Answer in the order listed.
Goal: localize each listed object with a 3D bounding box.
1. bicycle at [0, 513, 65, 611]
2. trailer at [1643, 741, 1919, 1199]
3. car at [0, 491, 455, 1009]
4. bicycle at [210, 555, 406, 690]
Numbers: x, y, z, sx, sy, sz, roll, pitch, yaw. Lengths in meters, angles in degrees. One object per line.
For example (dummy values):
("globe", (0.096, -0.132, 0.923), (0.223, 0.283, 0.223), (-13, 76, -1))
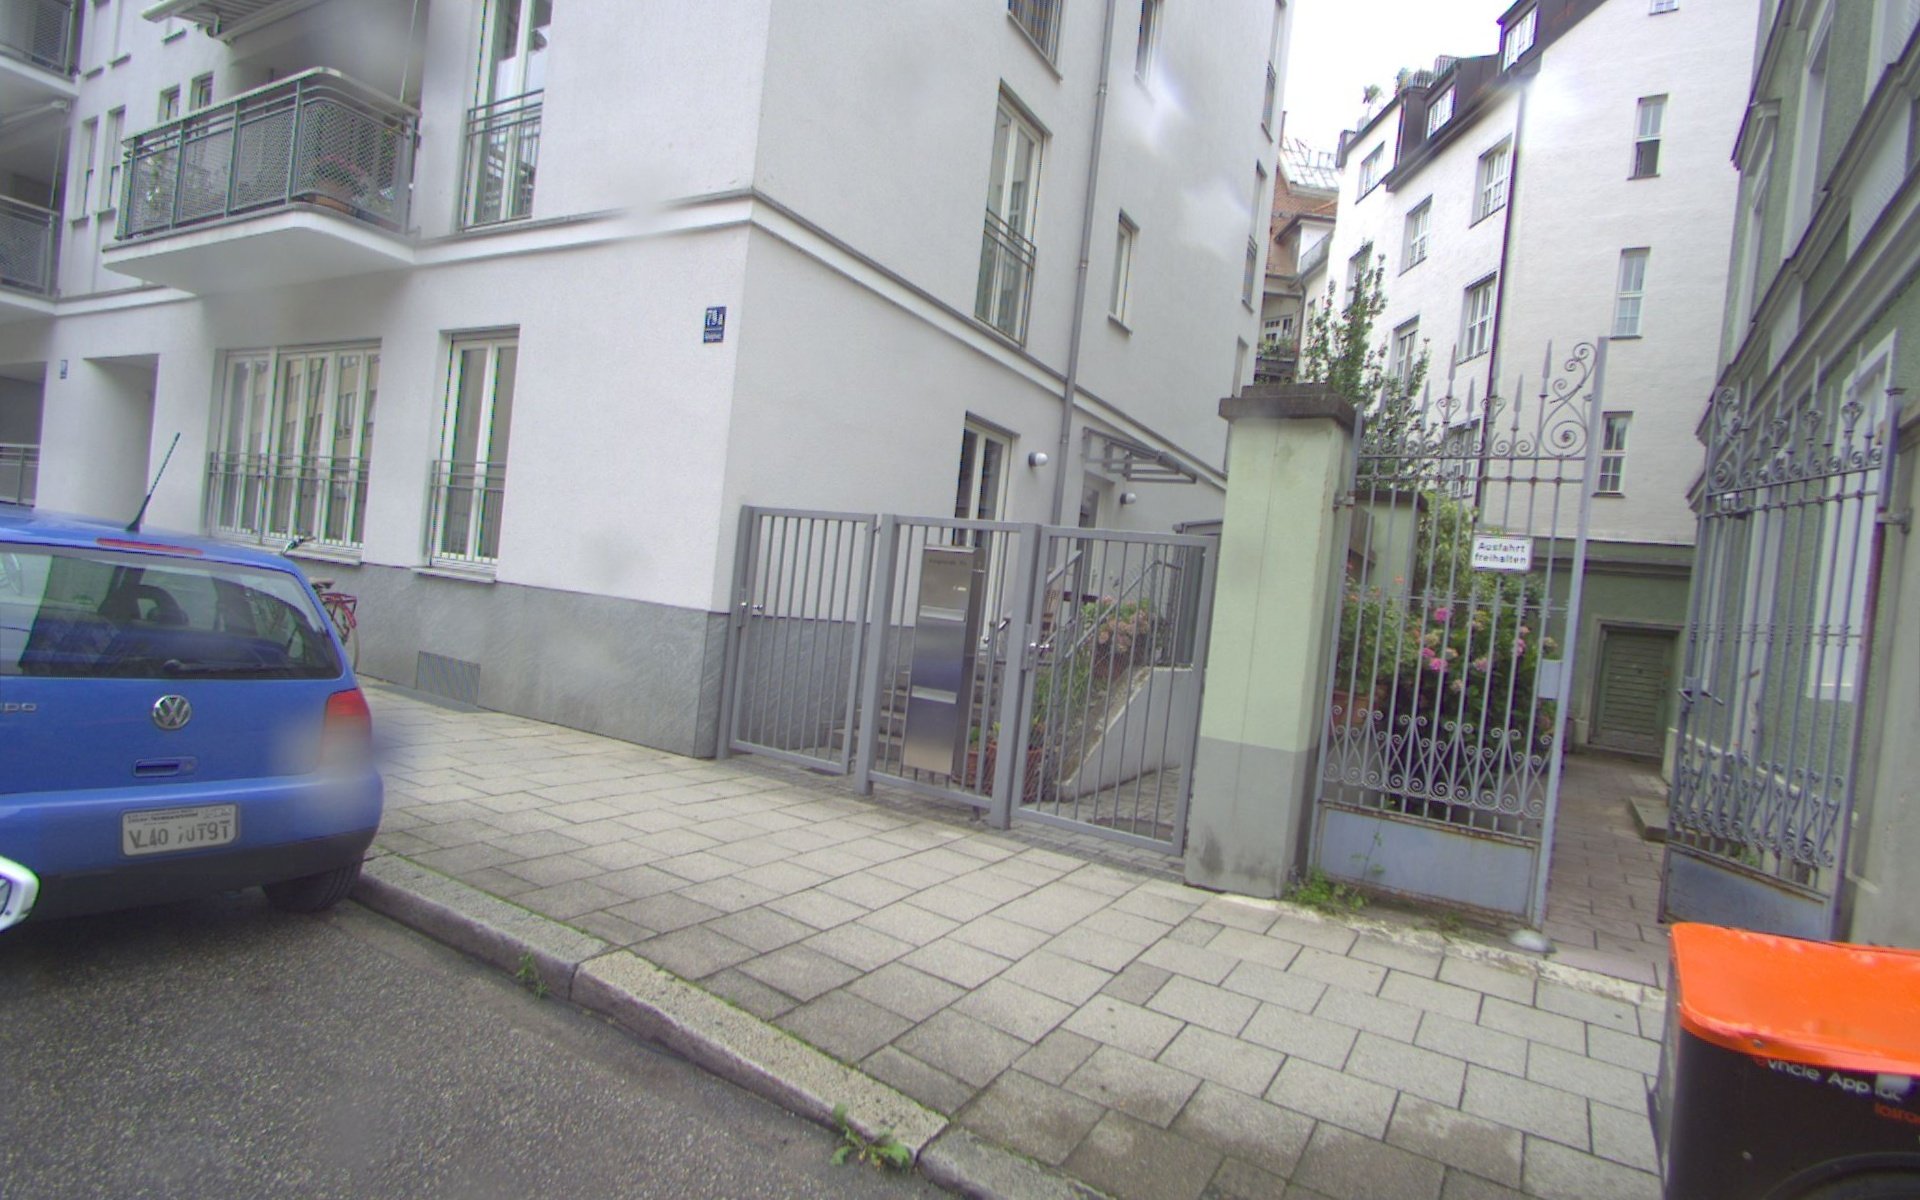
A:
("bicycle", (-12.836, -0.558, 13.408), (2.091, 1.175, 0.628), (7, 1, 29))
("trailer", (2.582, 1.079, 1.816), (2.130, 1.200, 0.940), (7, 4, 36))
("car", (-3.933, 0.308, 4.002), (3.492, 1.428, 1.623), (6, -2, 29))
("bicycle", (-5.893, 0.189, 9.073), (1.804, 1.041, 0.678), (5, 0, 30))
